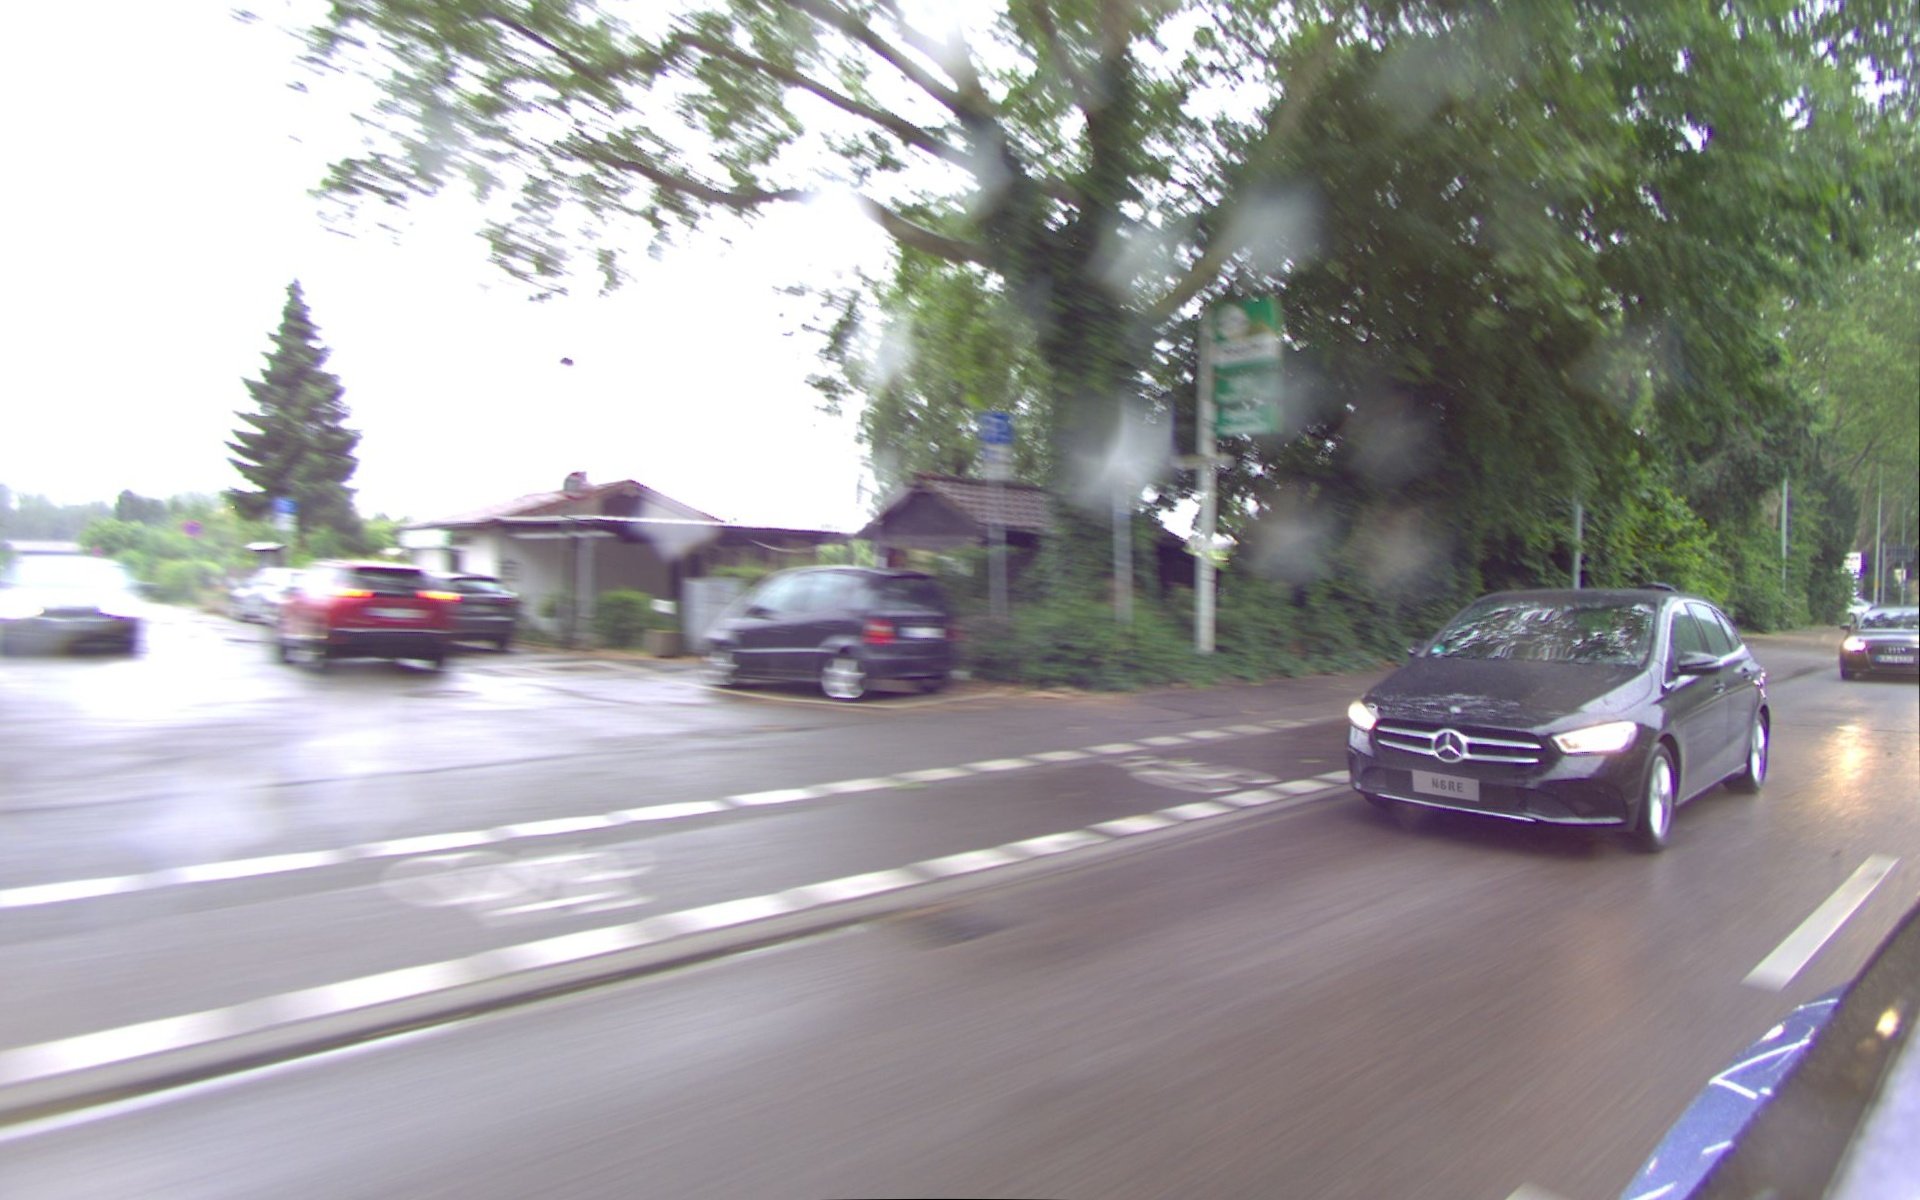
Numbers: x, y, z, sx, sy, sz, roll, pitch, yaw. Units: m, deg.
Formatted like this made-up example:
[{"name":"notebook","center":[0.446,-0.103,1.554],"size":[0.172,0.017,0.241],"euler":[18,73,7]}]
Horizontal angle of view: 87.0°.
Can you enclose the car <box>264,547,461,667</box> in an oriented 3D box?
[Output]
[{"name":"car","center":[-8.760,0.080,14.726],"size":[1.769,1.516,3.632],"euler":[1,0,-42]}]

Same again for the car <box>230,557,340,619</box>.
[{"name":"car","center":[-17.197,-0.289,25.722],"size":[1.699,1.477,3.630],"euler":[1,0,-44]}]

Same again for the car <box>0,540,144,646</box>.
[{"name":"car","center":[-14.224,-0.110,16.228],"size":[1.630,1.516,3.386],"euler":[1,0,-41]}]

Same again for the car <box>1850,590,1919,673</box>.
[{"name":"car","center":[18.488,0.554,19.437],"size":[3.717,1.402,1.640],"euler":[-2,1,-41]}]

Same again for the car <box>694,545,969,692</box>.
[{"name":"car","center":[-1.697,0.195,12.907],"size":[3.375,1.629,1.635],"euler":[1,0,40]}]

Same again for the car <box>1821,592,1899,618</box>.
[{"name":"car","center":[52.778,0.255,59.410],"size":[1.580,1.450,3.550],"euler":[-1,0,6]}]

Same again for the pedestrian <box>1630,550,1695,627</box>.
[{"name":"pedestrian","center":[16.362,-0.263,23.578],"size":[1.121,1.724,0.968],"euler":[-1,-1,-42]}]

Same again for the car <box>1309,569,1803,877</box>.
[{"name":"car","center":[4.462,0.585,7.260],"size":[4.346,1.549,1.819],"euler":[-2,0,-42]}]

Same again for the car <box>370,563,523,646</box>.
[{"name":"car","center":[-10.118,0.076,19.842],"size":[1.699,1.477,3.630],"euler":[1,0,-44]}]
